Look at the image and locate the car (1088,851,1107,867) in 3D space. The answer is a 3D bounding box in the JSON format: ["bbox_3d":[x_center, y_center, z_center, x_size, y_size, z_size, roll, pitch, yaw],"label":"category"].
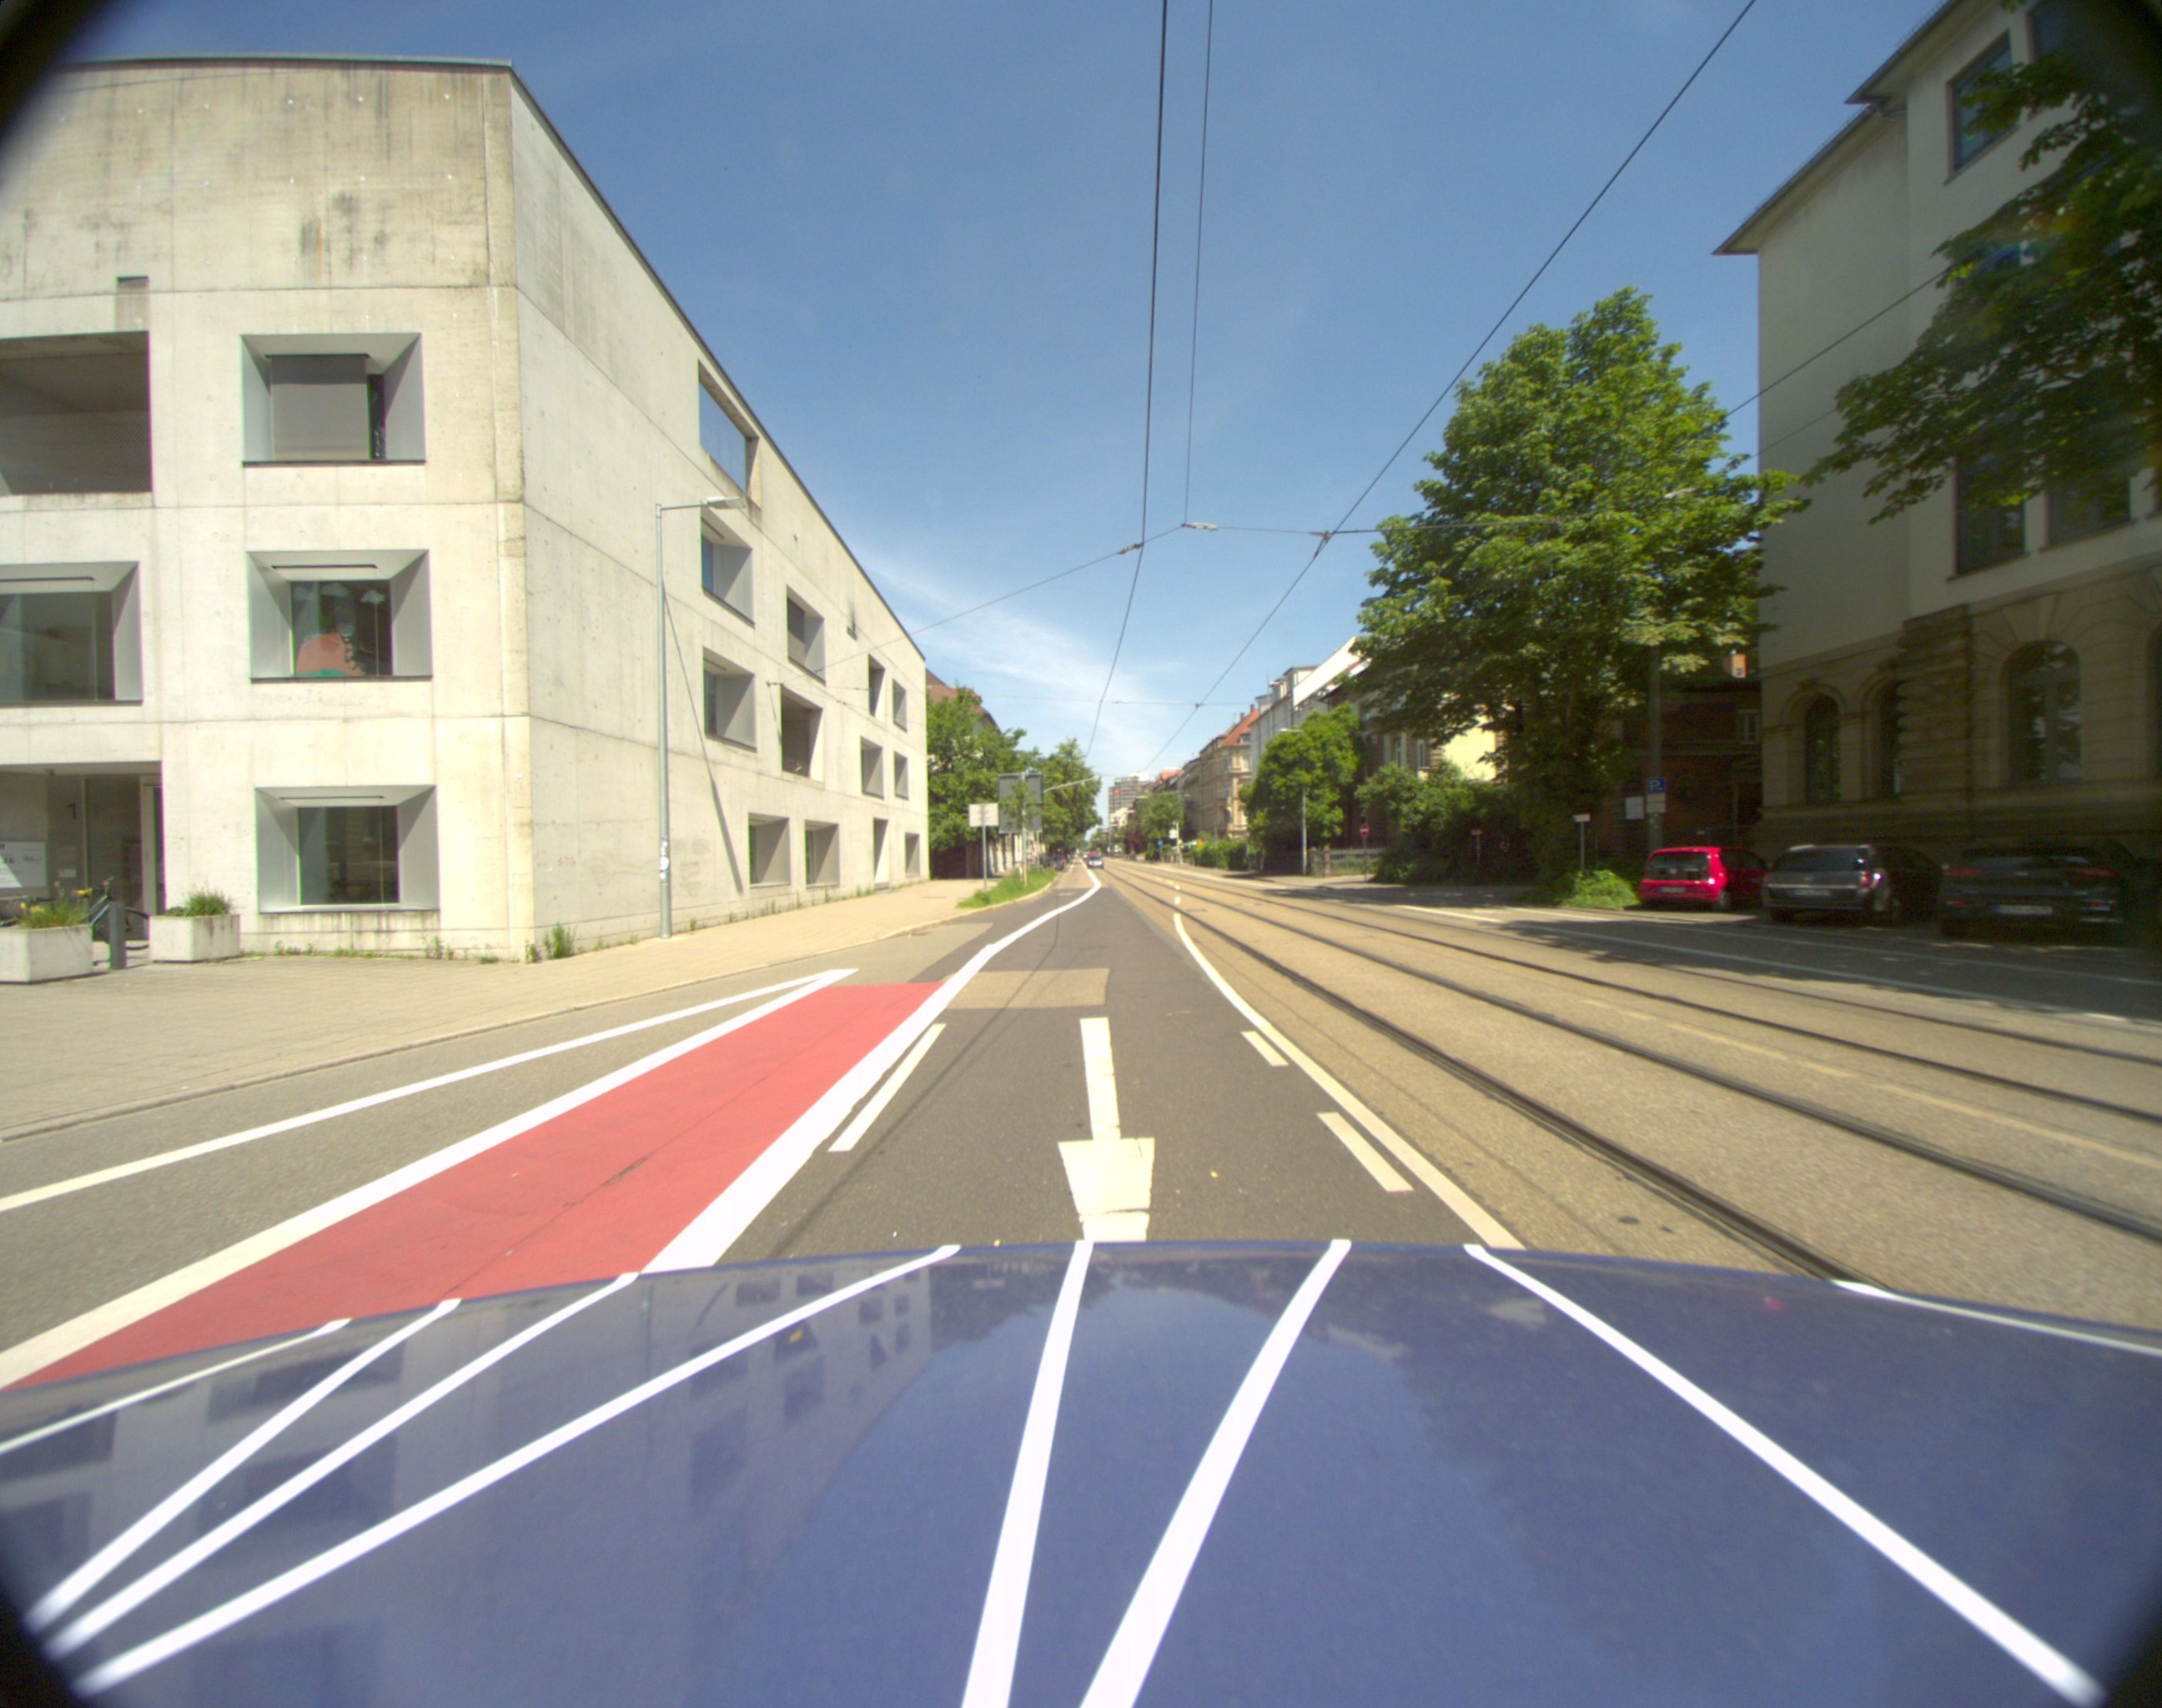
[{"bbox_3d":[1.686,0.496,79.233,1.893,1.561,4.036,-1,1,0],"label":"car"}]

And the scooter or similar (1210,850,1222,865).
[{"bbox_3d":[13.432,0.320,75.661,1.011,1.443,0.597,-1,2,0],"label":"scooter or similar"}]

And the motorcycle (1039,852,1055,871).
[{"bbox_3d":[-2.861,0.624,63.966,0.746,1.497,2.561,0,0,11],"label":"motorcycle"}]

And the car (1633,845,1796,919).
[{"bbox_3d":[14.858,0.591,17.823,3.357,1.507,1.666,-2,1,-26],"label":"car"}]

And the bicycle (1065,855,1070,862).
[{"bbox_3d":[-2.231,0.732,128.250,0.284,1.193,1.625,-2,1,-20],"label":"bicycle"}]

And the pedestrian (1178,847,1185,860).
[{"bbox_3d":[12.617,-0.062,95.312,0.742,1.632,0.939,-1,1,3],"label":"pedestrian"}]

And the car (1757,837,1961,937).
[{"bbox_3d":[15.100,0.546,14.693,4.328,1.575,1.665,-3,1,-29],"label":"car"}]

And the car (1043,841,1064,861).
[{"bbox_3d":[-2.897,-0.317,80.972,1.864,2.002,4.974,-1,1,1],"label":"car"}]

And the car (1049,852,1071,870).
[{"bbox_3d":[-1.898,0.645,71.451,1.864,1.568,4.877,-1,1,0],"label":"car"}]

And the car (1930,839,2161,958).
[{"bbox_3d":[15.146,0.579,11.819,3.824,1.567,1.789,-1,0,-29],"label":"car"}]

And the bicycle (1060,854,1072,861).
[{"bbox_3d":[-2.640,0.681,134.007,2.037,1.193,0.445,-1,2,10],"label":"bicycle"}]

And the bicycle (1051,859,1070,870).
[{"bbox_3d":[-1.827,0.925,67.761,1.662,1.010,0.371,-1,1,0],"label":"bicycle"}]

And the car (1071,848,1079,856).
[{"bbox_3d":[-1.184,-0.396,157.323,1.540,1.535,3.999,-1,1,0],"label":"car"}]
